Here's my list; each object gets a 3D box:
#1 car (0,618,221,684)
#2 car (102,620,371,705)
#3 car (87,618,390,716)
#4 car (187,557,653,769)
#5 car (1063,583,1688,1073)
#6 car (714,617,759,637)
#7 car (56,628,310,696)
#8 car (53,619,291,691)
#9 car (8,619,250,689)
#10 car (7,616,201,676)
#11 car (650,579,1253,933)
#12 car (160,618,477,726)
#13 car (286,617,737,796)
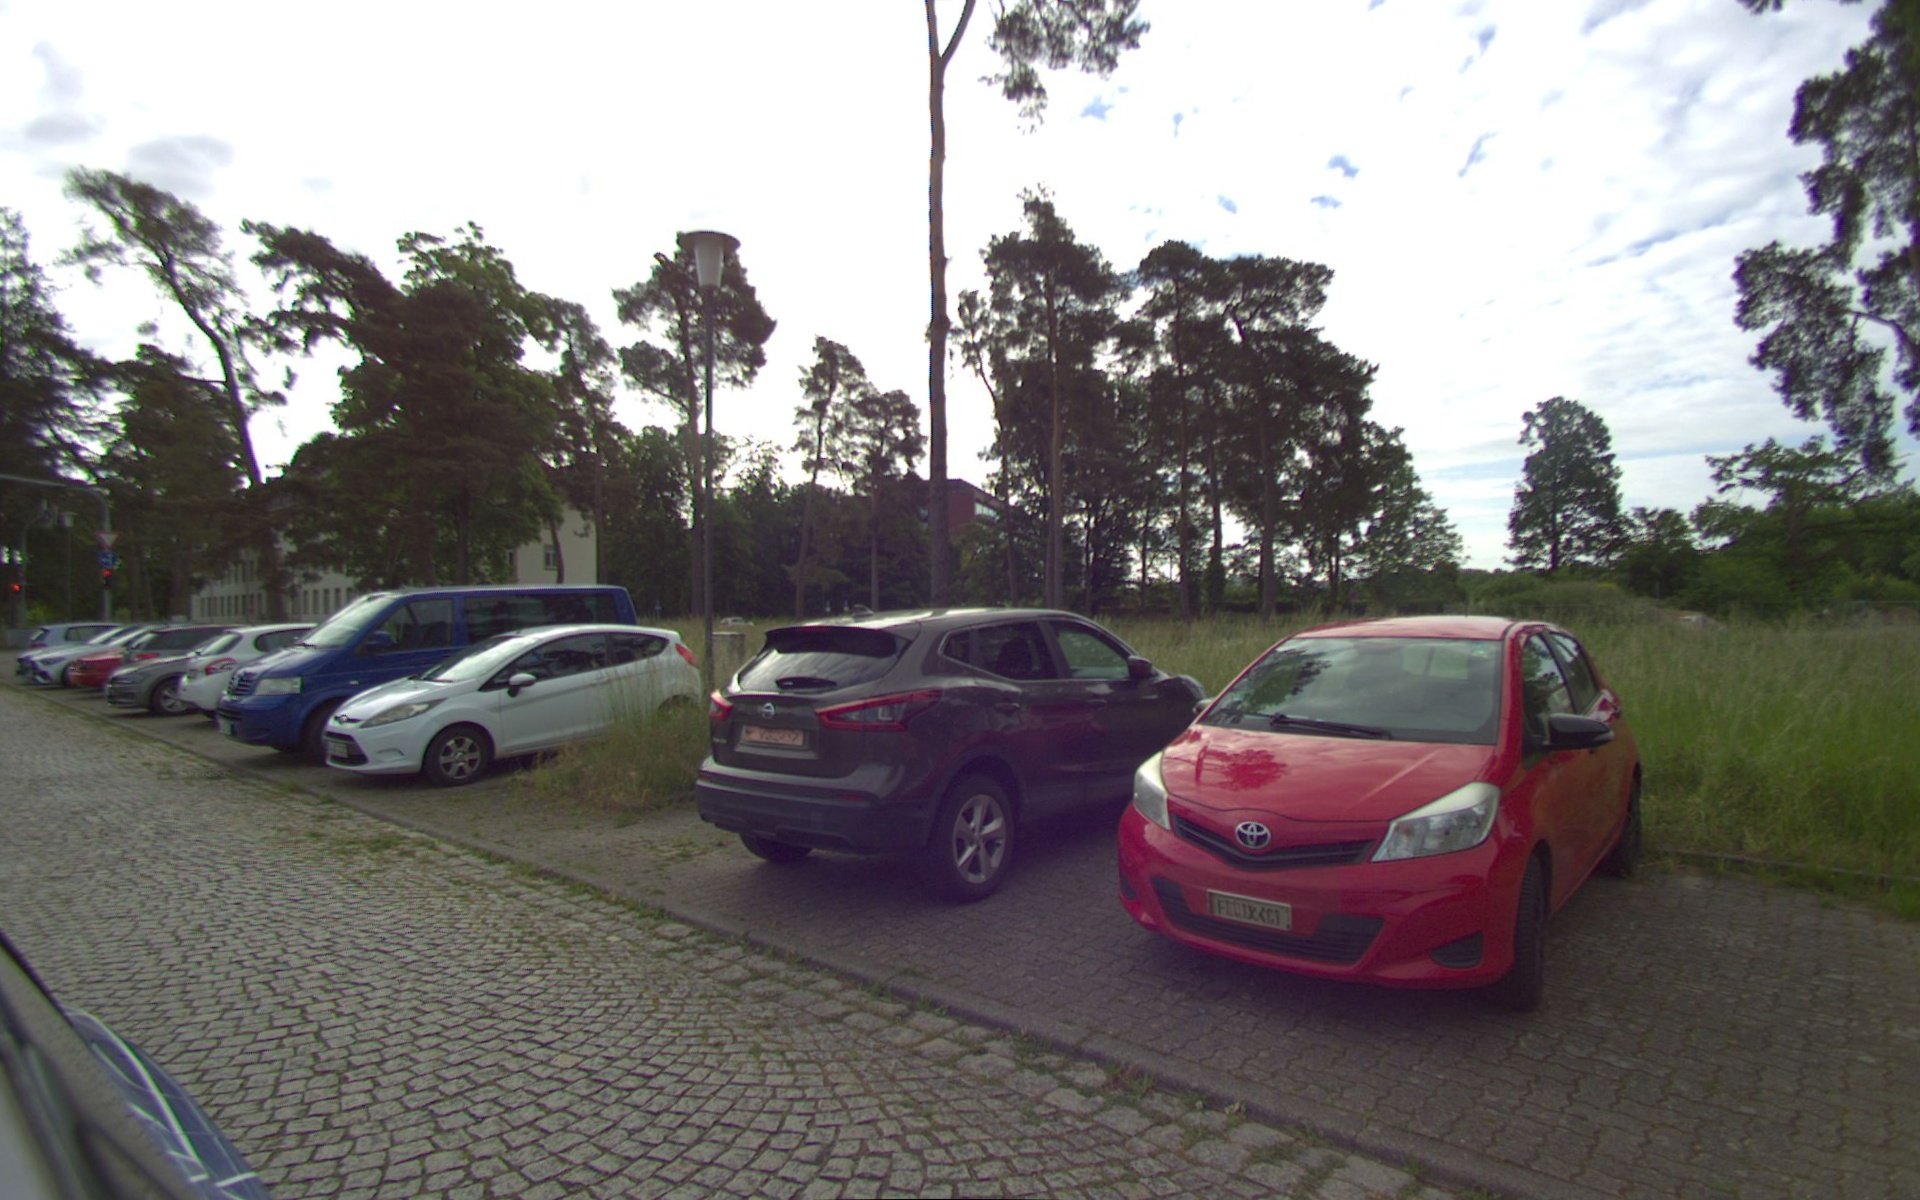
[{"bbox_3d":[-22.332,1.276,26.702,1.933,1.560,4.210,-2,-1,37],"label":"car"},{"bbox_3d":[-14.468,1.183,20.406,1.845,1.493,4.121,-2,-2,42],"label":"car"},{"bbox_3d":[-12.692,1.096,17.990,1.864,1.503,4.121,-2,-2,43],"label":"car"},{"bbox_3d":[-6.524,0.671,12.705,2.114,2.138,4.733,-2,-2,40],"label":"car"},{"bbox_3d":[2.497,0.744,5.368,1.906,1.522,4.124,-2,-2,40],"label":"car"},{"bbox_3d":[-21.235,2.514,96.167,1.722,1.820,3.942,-2,-2,44],"label":"car"},{"bbox_3d":[-16.689,1.276,21.895,1.831,1.276,4.121,-2,-2,42],"label":"car"},{"bbox_3d":[-18.306,1.221,23.652,1.863,1.488,4.123,-2,-2,40],"label":"car"},{"bbox_3d":[-20.291,1.254,24.868,1.934,1.519,4.331,-2,-1,39],"label":"car"},{"bbox_3d":[-24.202,1.262,28.713,1.904,1.554,3.946,-2,-2,40],"label":"car"},{"bbox_3d":[0.230,0.759,6.936,1.984,1.634,4.125,-2,-1,39],"label":"car"},{"bbox_3d":[-10.277,1.065,16.441,1.845,1.509,4.024,-2,-2,42],"label":"car"},{"bbox_3d":[-4.619,0.965,10.940,1.779,1.522,4.125,-2,-1,39],"label":"car"}]
